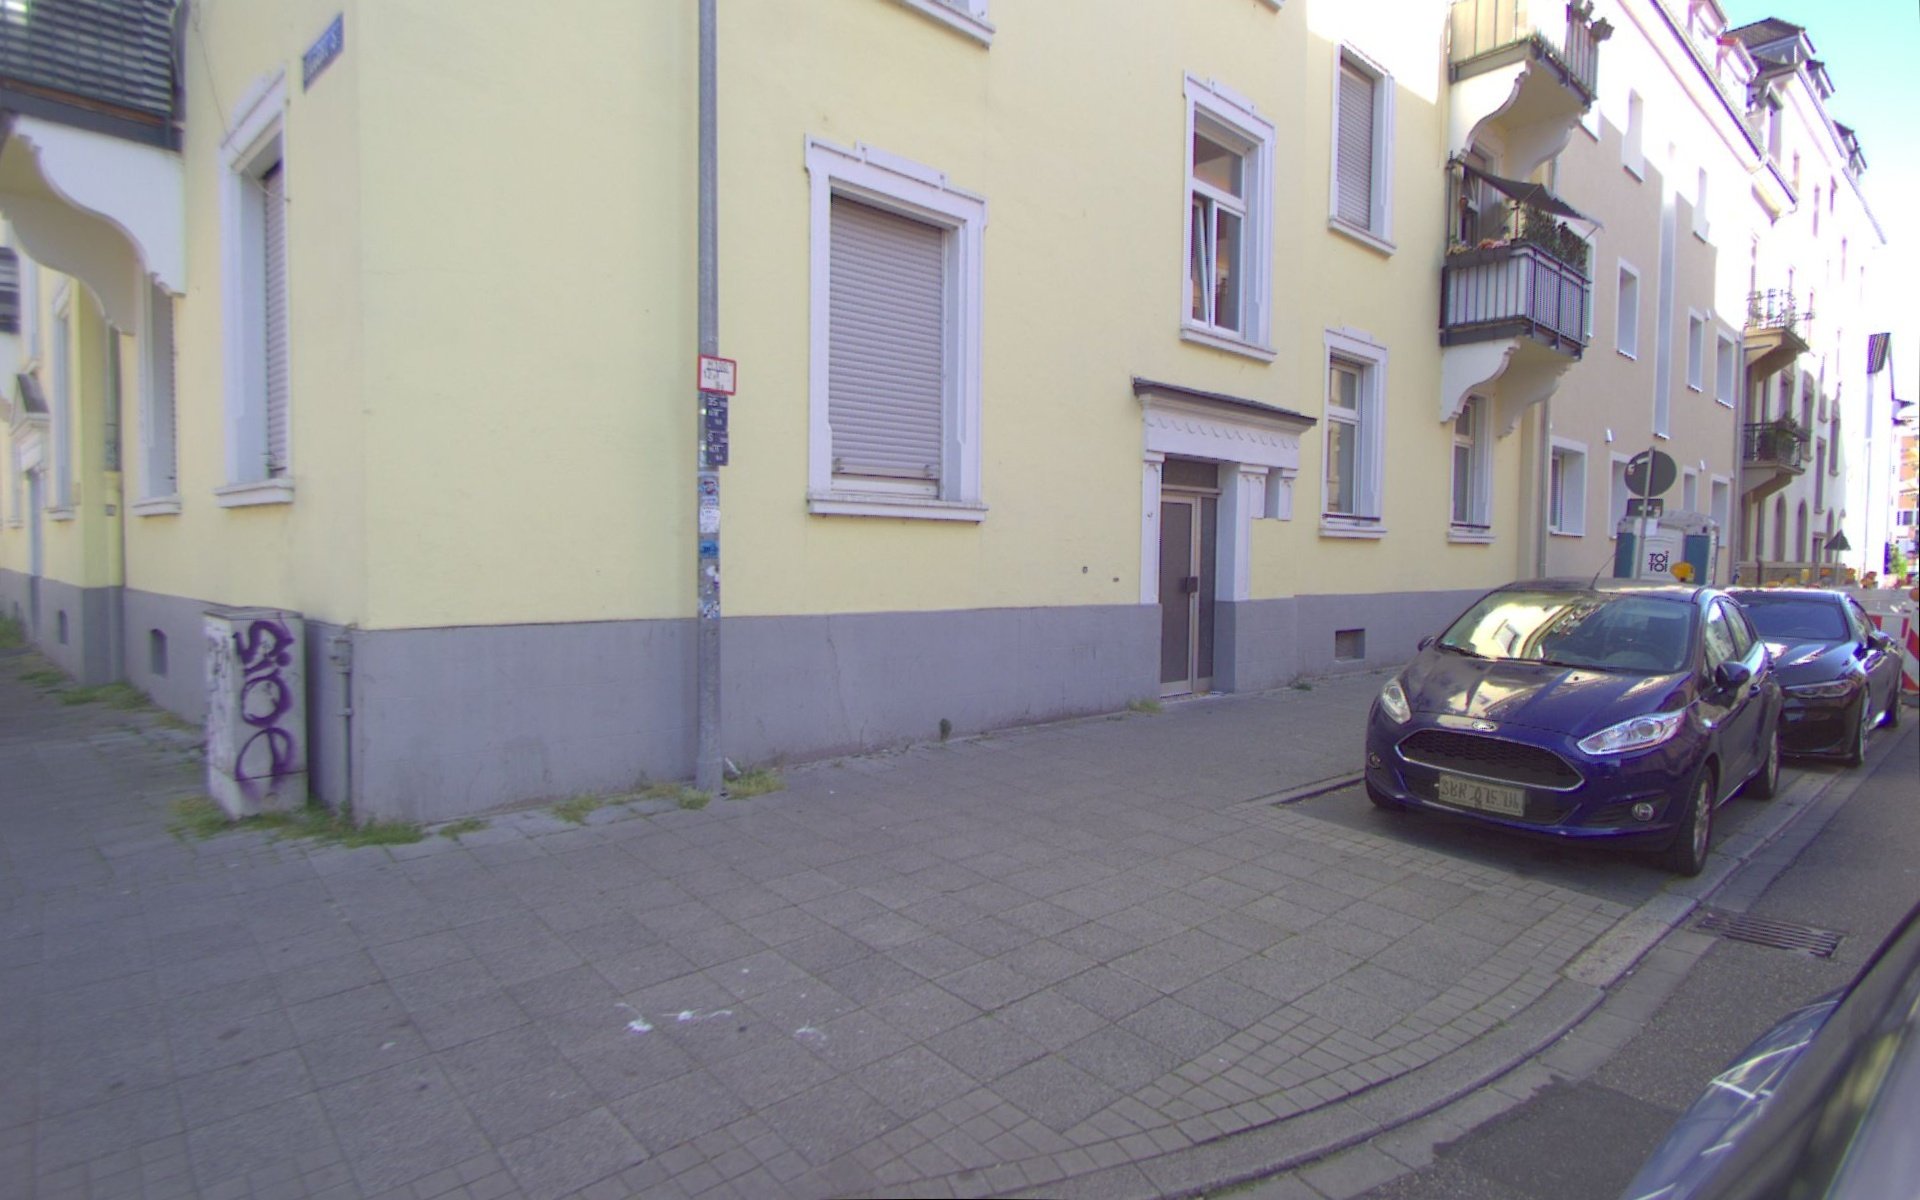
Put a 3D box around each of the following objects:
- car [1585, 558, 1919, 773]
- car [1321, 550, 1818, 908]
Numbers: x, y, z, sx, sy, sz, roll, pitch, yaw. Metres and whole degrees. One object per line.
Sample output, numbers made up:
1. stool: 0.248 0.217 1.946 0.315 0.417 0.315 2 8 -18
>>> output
1. car: 7.927 0.408 9.748 5.024 1.488 1.805 -1 6 -42
2. car: 4.086 0.490 6.475 1.764 1.488 4.020 6 6 44
